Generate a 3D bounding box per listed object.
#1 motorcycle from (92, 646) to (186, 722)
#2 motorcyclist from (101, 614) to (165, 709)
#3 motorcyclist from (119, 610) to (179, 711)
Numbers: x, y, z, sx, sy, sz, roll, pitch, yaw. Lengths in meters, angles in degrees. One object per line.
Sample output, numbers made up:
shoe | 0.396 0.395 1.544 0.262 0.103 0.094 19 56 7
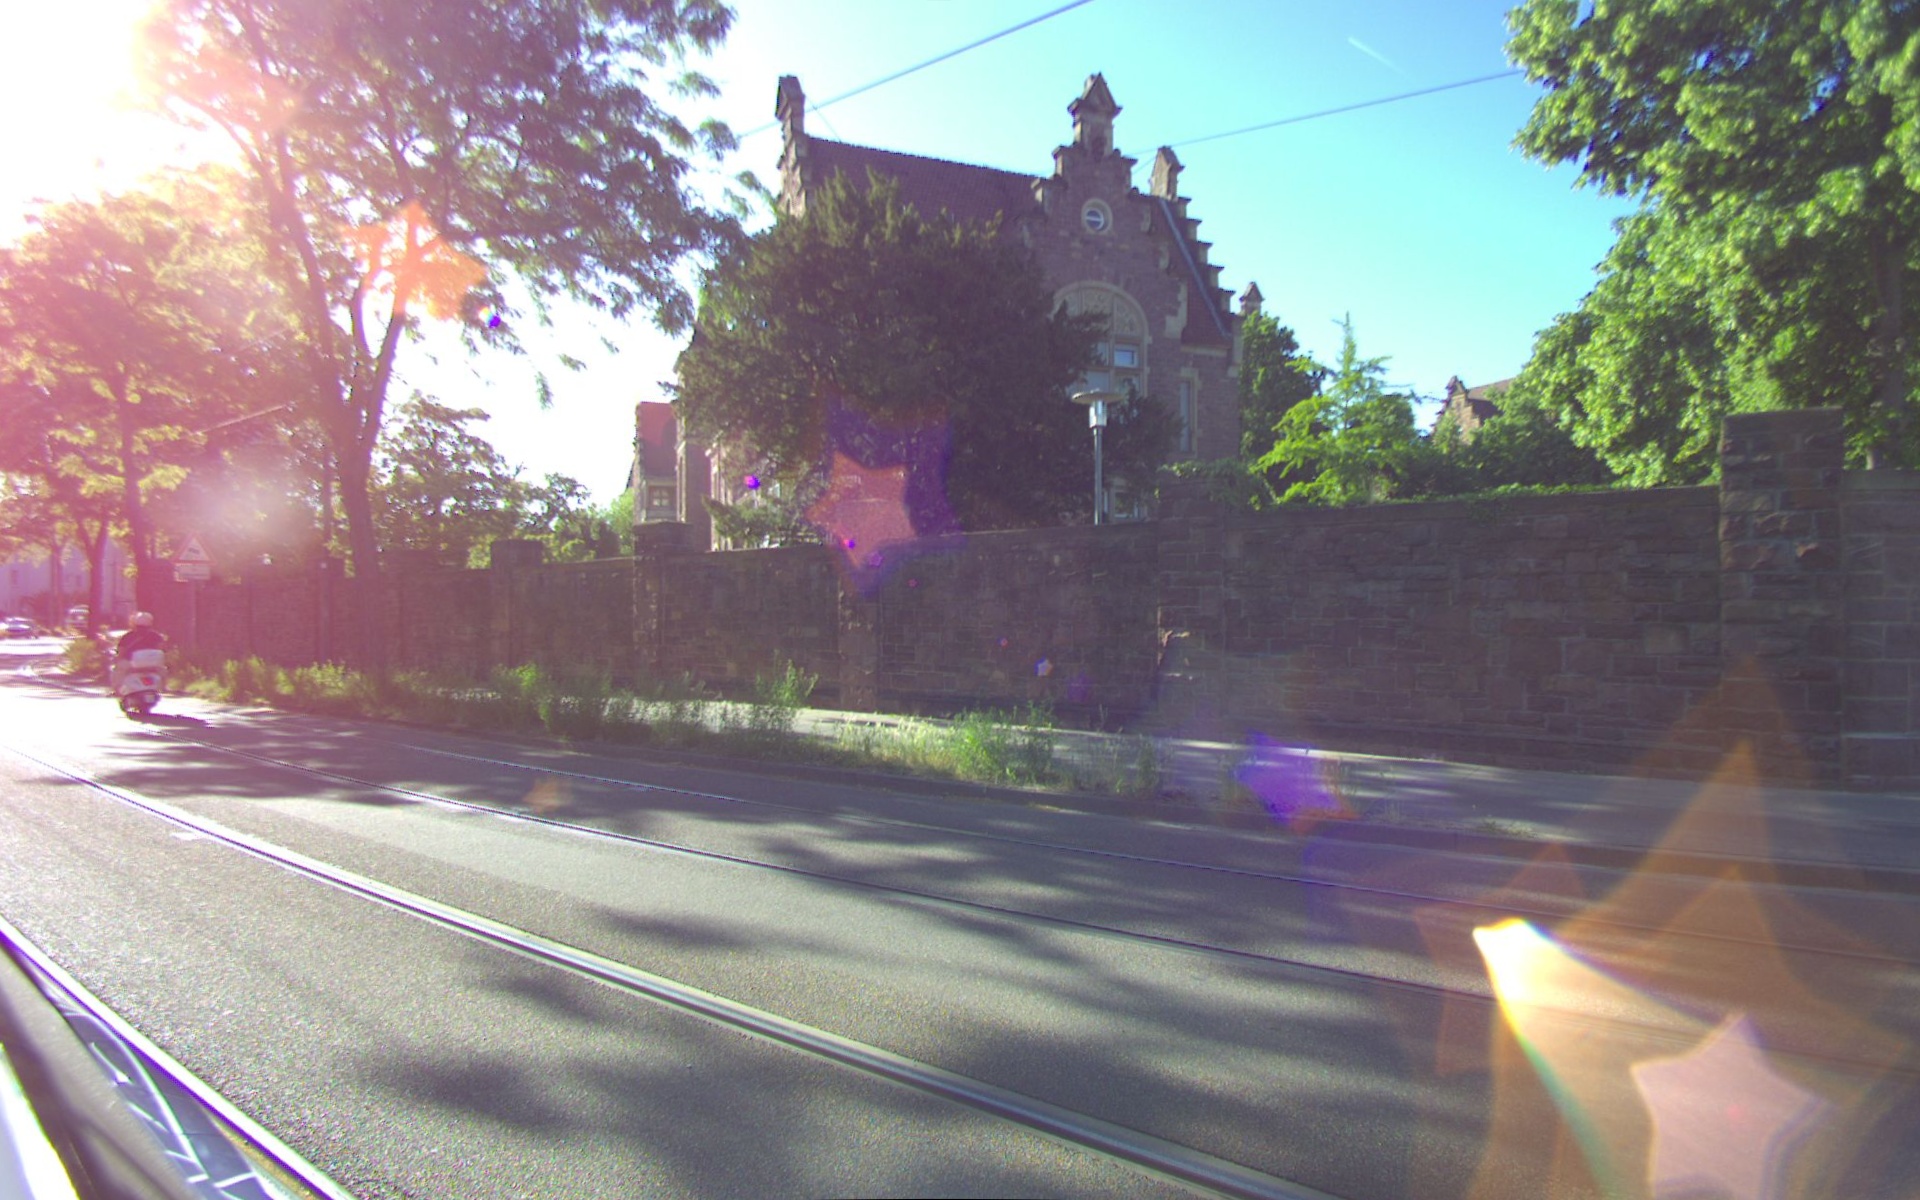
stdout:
motorcycle | -12.933 1.298 15.930 1.850 1.101 0.604 -1 -1 33
motorcyclist | -13.041 0.954 15.970 0.445 1.451 0.678 -1 -1 31
motorcyclist | -12.597 0.931 15.725 0.464 1.527 0.602 -1 -1 32
